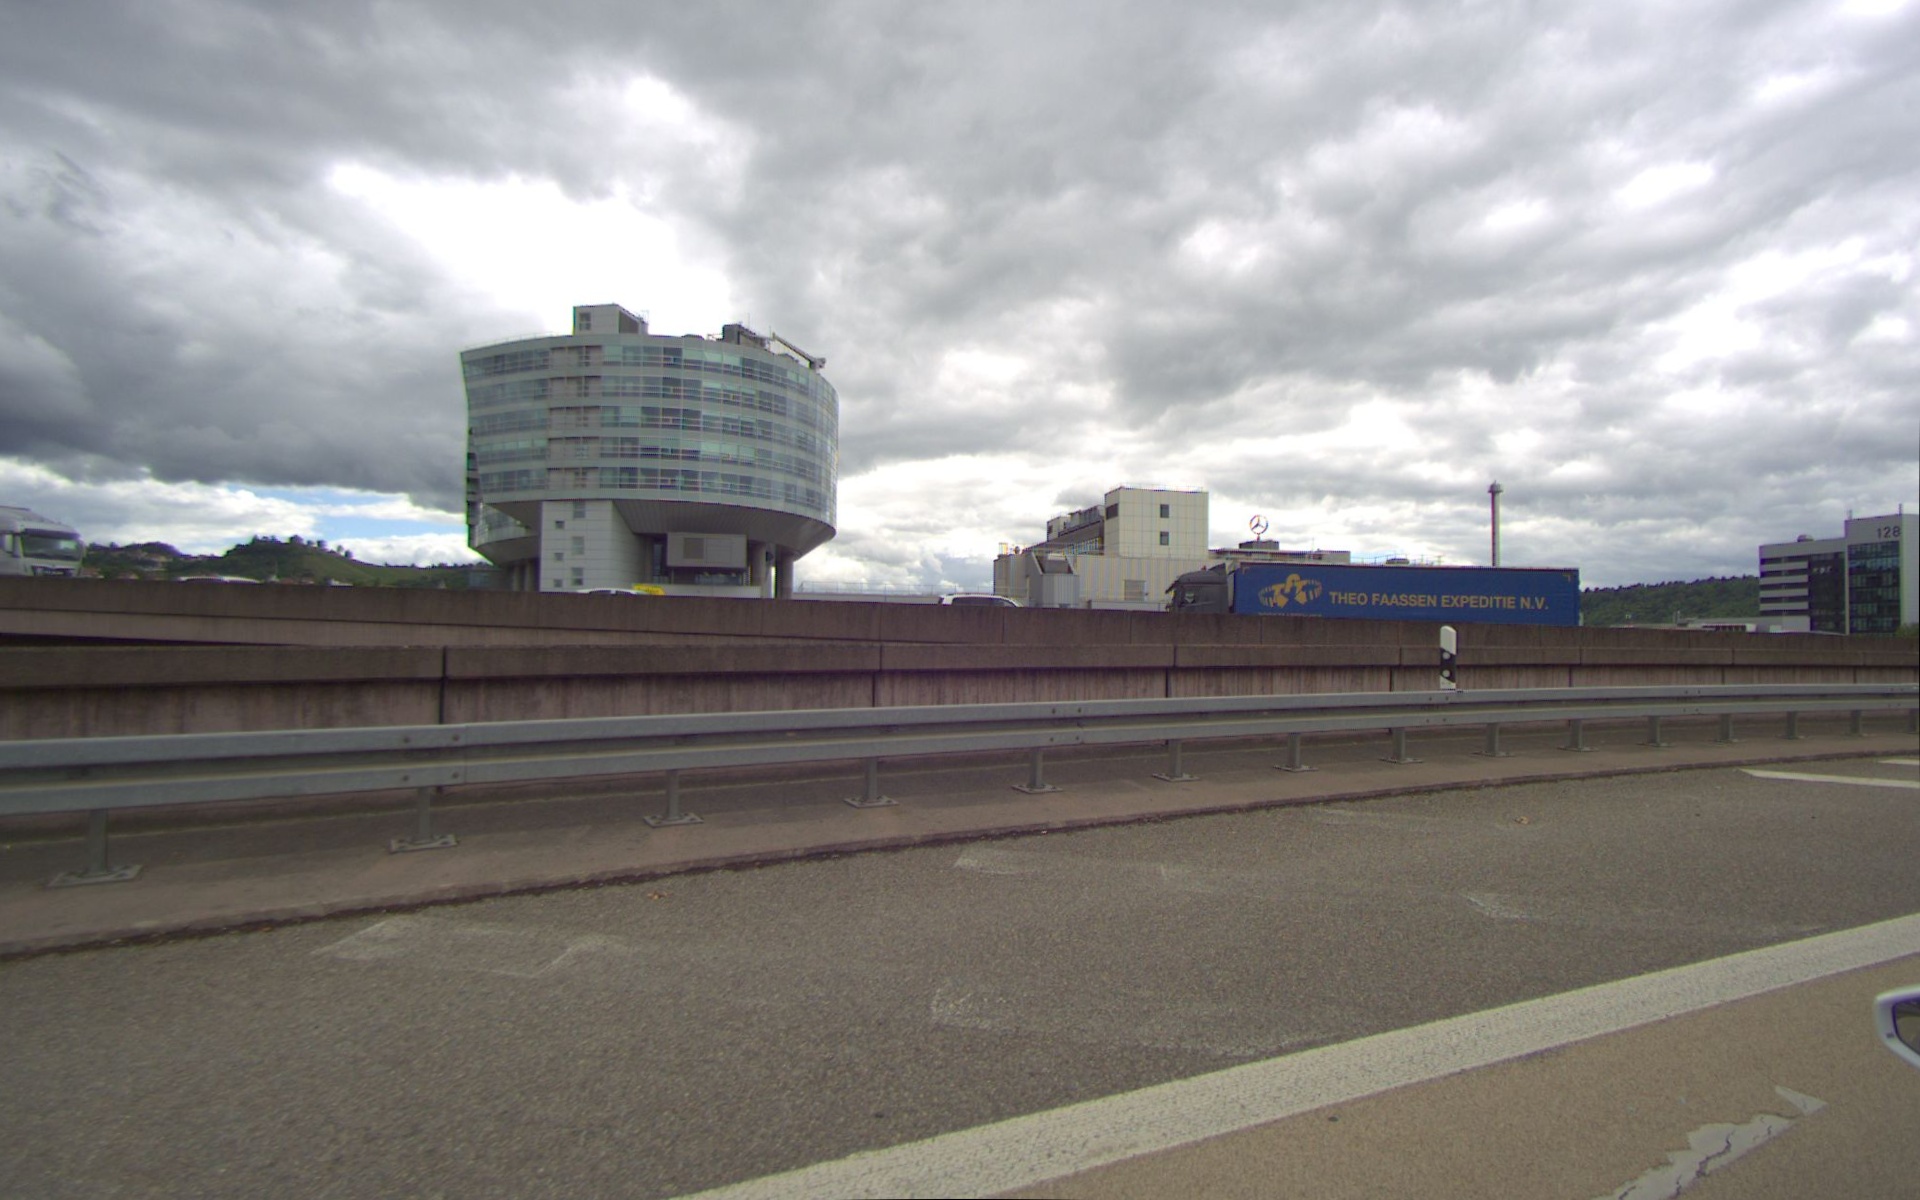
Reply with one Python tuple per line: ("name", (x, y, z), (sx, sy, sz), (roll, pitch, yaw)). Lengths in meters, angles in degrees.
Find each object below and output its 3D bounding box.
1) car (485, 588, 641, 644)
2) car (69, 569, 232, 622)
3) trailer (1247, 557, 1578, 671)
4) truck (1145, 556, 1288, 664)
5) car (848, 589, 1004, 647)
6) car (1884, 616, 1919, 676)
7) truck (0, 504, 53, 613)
("car", (-11.655, 0.447, 29.631), (3.919, 1.517, 1.715), (1, 1, 7))
("car", (-25.219, -0.155, 31.351), (3.919, 1.539, 1.789), (1, 1, 9))
("trailer", (18.634, 0.579, 42.233), (12.263, 4.404, 3.174), (1, -2, 8))
("truck", (10.913, 0.462, 43.267), (5.578, 4.404, 3.174), (1, -2, 8))
("car", (-1.079, 0.568, 33.251), (4.792, 1.691, 2.001), (2, 1, 10))
("car", (26.751, 1.254, 25.759), (4.179, 1.525, 1.853), (2, 0, 7))
("truck", (-37.974, -1.635, 38.091), (4.694, 4.065, 2.867), (2, 1, 7))
